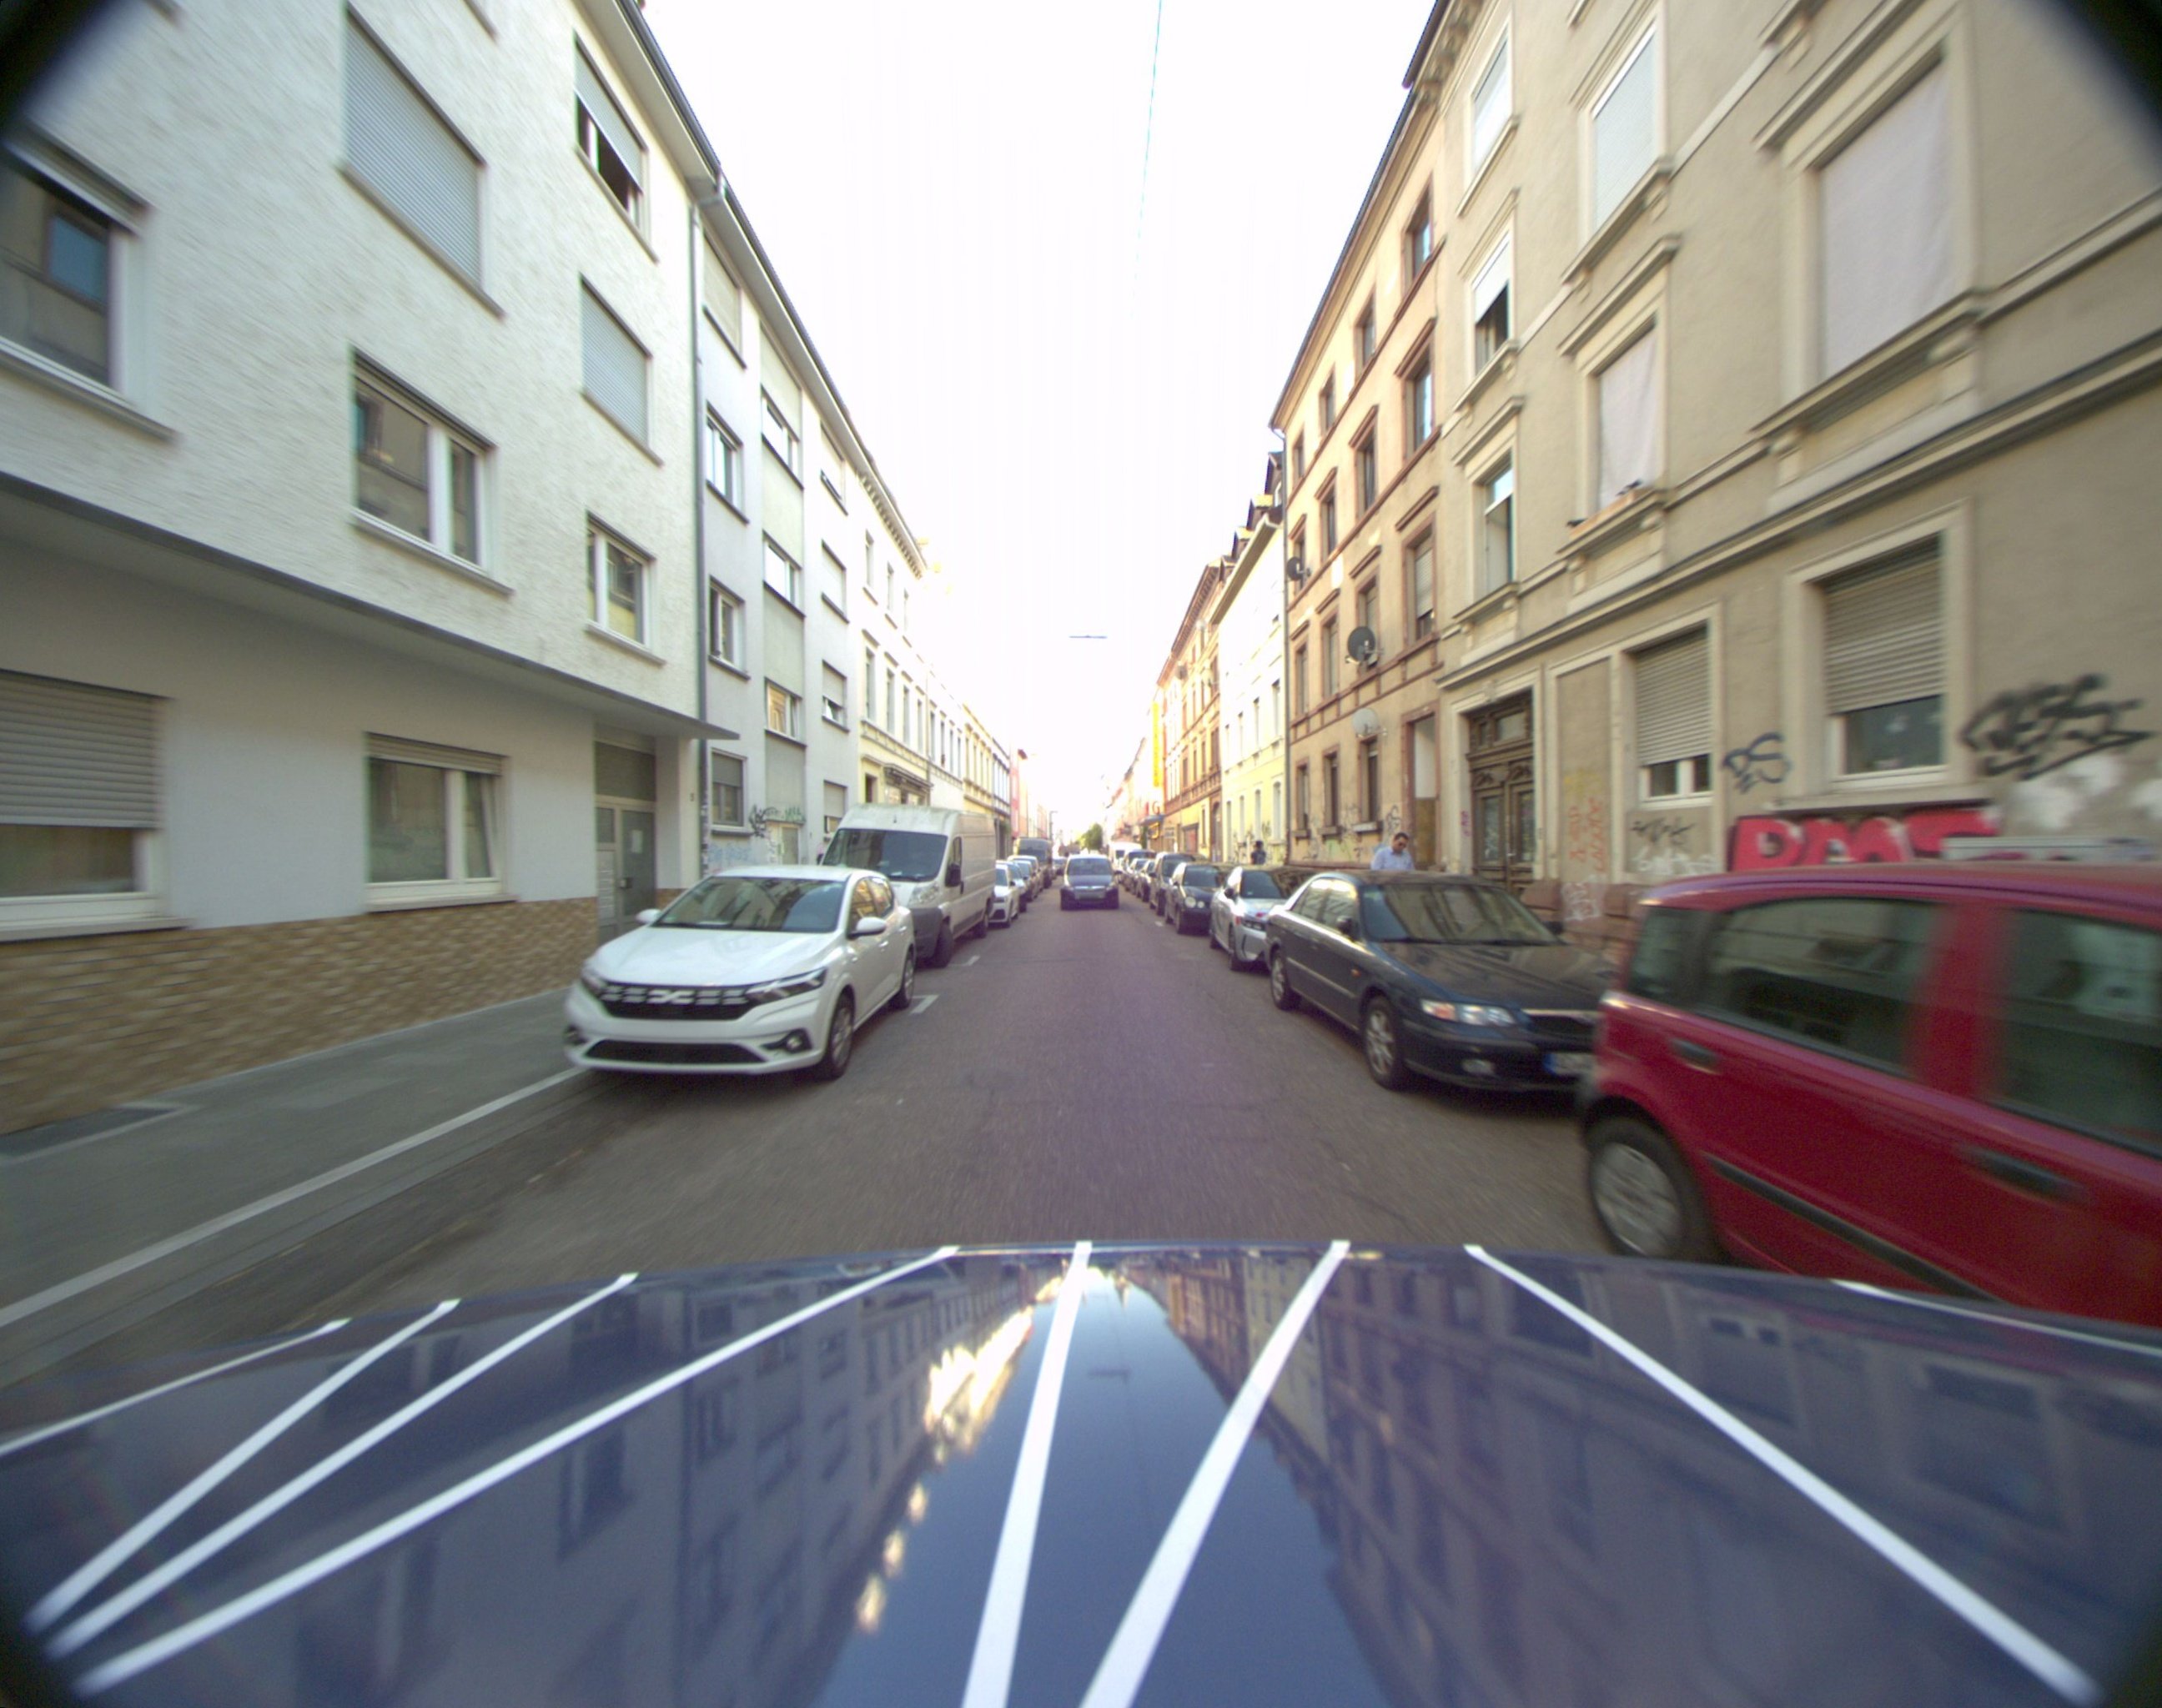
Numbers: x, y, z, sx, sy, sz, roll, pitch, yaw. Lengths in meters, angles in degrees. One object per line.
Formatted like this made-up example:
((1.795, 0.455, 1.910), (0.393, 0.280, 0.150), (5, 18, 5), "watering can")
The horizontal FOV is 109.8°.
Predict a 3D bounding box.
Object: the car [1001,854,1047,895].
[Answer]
((-2.447, 0.851, 33.396), (1.683, 1.626, 3.859), (-2, 0, 0), "car")

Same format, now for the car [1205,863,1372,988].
((2.862, 0.907, 11.269), (1.683, 1.454, 3.861), (-1, 0, 5), "car")

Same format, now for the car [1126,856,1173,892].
((2.840, 0.801, 32.170), (1.683, 1.407, 3.859), (-1, 0, 0), "car")

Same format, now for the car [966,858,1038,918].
((-2.309, 0.950, 23.103), (1.683, 1.556, 3.860), (-2, 0, 1), "car")

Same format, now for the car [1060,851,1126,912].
((0.317, 0.760, 24.084), (1.798, 1.652, 5.183), (-2, 0, 0), "car")

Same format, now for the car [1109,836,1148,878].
((3.078, 0.147, 50.201), (2.094, 2.576, 5.842), (-1, 0, -1), "car")

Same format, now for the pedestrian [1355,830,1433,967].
((4.347, 0.600, 10.584), (0.790, 1.820, 0.594), (-2, 1, 0), "pedestrian")

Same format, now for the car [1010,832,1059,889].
((-2.327, 0.293, 39.715), (2.050, 2.662, 6.185), (-2, 0, 0), "car")

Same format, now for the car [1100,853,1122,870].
((2.518, 0.613, 64.537), (1.683, 1.381, 3.859), (-1, 0, 0), "car")

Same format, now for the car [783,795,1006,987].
((-2.817, 0.485, 13.241), (2.050, 2.498, 6.023), (-2, 0, 2), "car")

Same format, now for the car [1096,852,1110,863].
((2.809, 0.443, 96.730), (1.683, 1.381, 3.859), (-1, 0, 0), "car")

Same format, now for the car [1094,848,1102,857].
((3.888, -0.275, 170.683), (1.683, 1.851, 4.158), (-2, 0, 0), "car")

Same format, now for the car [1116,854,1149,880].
((2.929, 0.718, 44.165), (1.683, 1.381, 3.859), (-1, 0, 0), "car")

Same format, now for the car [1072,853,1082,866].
((-0.649, 0.953, 128.506), (1.683, 2.077, 4.158), (-2, 0, 0), "car")

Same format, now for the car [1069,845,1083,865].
((-0.846, 0.190, 135.475), (2.437, 3.404, 5.542), (-2, 0, 0), "car")

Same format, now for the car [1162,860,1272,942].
((2.757, 0.903, 16.212), (1.683, 1.454, 3.859), (-1, 0, 0), "car")

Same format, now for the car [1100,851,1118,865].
((2.848, 0.408, 77.566), (1.683, 1.381, 3.859), (-1, 0, 0), "car")

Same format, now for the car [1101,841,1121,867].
((2.780, -0.050, 71.513), (1.683, 2.352, 4.098), (-1, 0, 0), "car")

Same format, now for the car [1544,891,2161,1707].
((2.823, 0.922, 1.411), (1.683, 1.484, 3.611), (-1, 0, -1), "car")

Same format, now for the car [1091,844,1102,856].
((4.048, -1.063, 200.768), (2.565, 3.030, 7.061), (-2, 0, 0), "car")

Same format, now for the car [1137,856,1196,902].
((2.981, 0.830, 27.130), (1.683, 1.448, 3.859), (-1, 0, 0), "car")

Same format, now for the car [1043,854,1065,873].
((-2.354, 0.812, 67.044), (1.683, 1.588, 3.859), (-2, 0, 0), "car")

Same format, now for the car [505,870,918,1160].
((-2.595, 0.995, 6.447), (1.684, 1.550, 3.859), (-2, 0, -3), "car")

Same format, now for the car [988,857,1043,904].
((-2.370, 0.933, 28.265), (1.683, 1.511, 3.859), (-2, 0, 0), "car")

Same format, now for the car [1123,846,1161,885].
((3.043, 0.534, 38.886), (1.752, 1.880, 4.771), (-1, 0, 2), "car")

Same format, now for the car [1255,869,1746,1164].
((2.750, 0.920, 6.241), (1.683, 1.454, 4.312), (-1, 0, 0), "car")

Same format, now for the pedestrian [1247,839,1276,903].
((5.201, 0.485, 21.944), (0.626, 1.820, 0.594), (-2, 1, 1), "pedestrian")

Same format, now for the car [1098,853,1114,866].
((2.858, 0.579, 86.529), (1.683, 1.381, 3.859), (-1, 0, 0), "car")

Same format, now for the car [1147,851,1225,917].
((2.866, 0.760, 21.484), (1.683, 1.674, 3.859), (-1, 0, 0), "car")

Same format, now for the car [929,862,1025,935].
((-2.379, 0.984, 18.276), (1.683, 1.434, 3.859), (-2, 0, 0), "car")

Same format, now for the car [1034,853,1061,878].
((-2.372, 0.786, 54.216), (1.683, 1.588, 3.859), (-2, 0, 0), "car")
